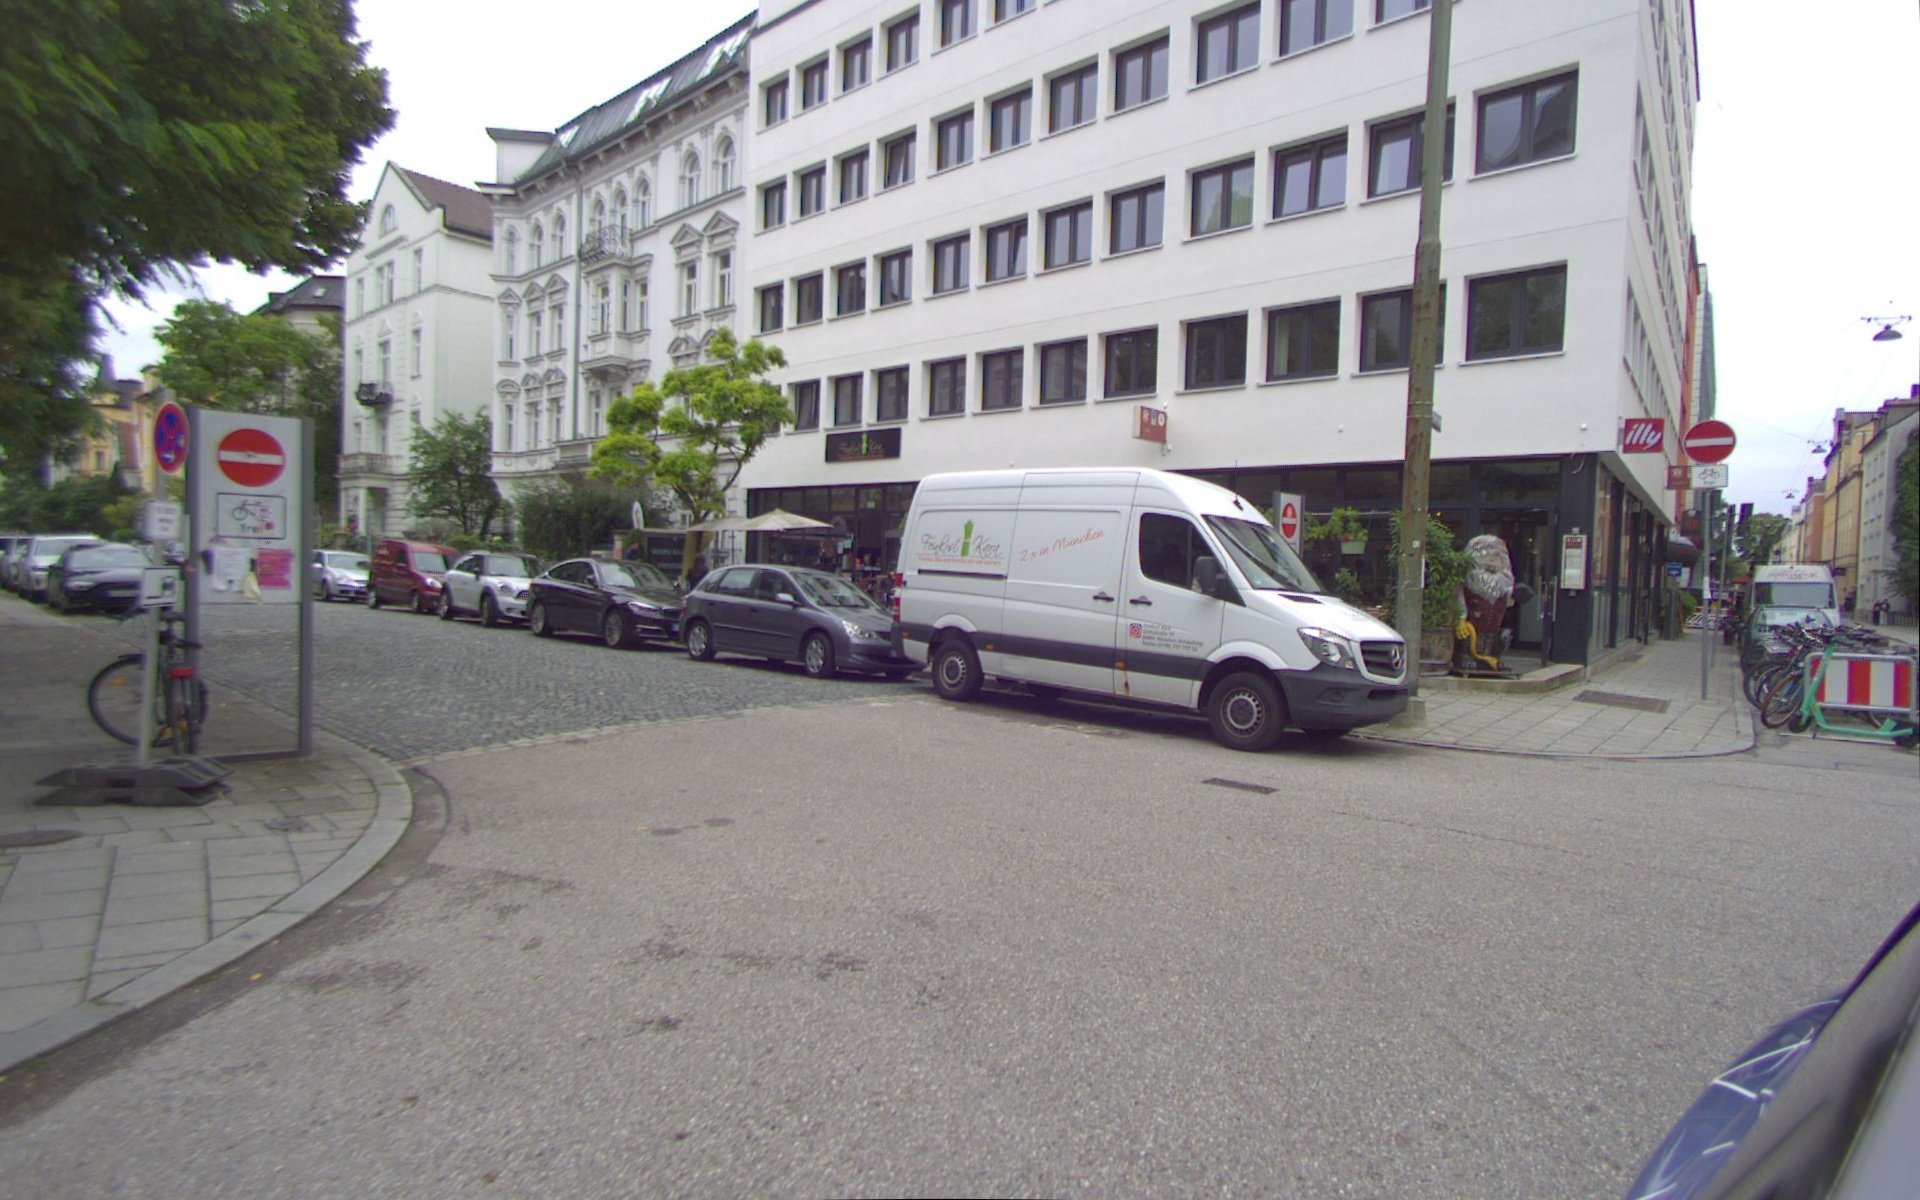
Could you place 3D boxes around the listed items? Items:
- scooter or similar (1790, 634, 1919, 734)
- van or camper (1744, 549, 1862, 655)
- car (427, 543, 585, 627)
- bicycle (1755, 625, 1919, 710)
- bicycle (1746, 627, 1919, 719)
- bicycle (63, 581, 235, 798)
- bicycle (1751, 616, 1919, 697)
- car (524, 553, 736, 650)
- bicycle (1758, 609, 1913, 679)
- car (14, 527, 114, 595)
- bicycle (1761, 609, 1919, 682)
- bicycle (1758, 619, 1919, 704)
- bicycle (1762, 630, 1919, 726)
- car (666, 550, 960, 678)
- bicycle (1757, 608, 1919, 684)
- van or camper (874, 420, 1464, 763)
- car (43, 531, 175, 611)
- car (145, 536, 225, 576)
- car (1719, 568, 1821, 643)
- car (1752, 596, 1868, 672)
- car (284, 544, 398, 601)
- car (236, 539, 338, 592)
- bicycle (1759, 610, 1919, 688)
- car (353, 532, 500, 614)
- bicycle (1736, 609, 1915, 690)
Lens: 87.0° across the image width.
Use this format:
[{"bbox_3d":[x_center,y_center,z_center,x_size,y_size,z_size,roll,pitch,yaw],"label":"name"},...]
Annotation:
[{"bbox_3d":[10.135,0.923,11.320,1.278,0.988,0.492,3,2,40],"label":"scooter or similar"},{"bbox_3d":[22.649,-0.011,27.381,1.956,2.540,5.649,3,2,36],"label":"van or camper"},{"bbox_3d":[-9.780,-0.359,21.663,1.739,1.557,3.990,3,0,-45],"label":"car"},{"bbox_3d":[12.357,0.913,13.938,2.166,0.976,0.961,4,2,40],"label":"bicycle"},{"bbox_3d":[11.580,0.931,13.101,2.169,0.988,0.961,4,2,40],"label":"bicycle"},{"bbox_3d":[-5.245,0.485,6.651,0.673,1.144,2.013,1,2,-33],"label":"bicycle"},{"bbox_3d":[13.692,0.852,15.739,2.144,1.045,0.961,4,2,40],"label":"bicycle"},{"bbox_3d":[-5.928,-0.011,17.922,4.158,1.407,1.766,4,-1,44],"label":"car"},{"bbox_3d":[16.850,0.816,19.559,2.198,1.159,0.630,4,2,40],"label":"bicycle"},{"bbox_3d":[-23.343,-1.040,26.325,3.988,1.638,1.610,4,3,44],"label":"car"},{"bbox_3d":[16.431,0.815,18.945,2.196,1.159,0.686,4,2,40],"label":"bicycle"},{"bbox_3d":[13.031,0.874,14.793,2.097,1.045,0.961,4,2,40],"label":"bicycle"},{"bbox_3d":[10.915,0.926,12.128,1.986,0.976,0.960,4,2,40],"label":"bicycle"},{"bbox_3d":[-2.210,0.152,14.564,4.128,1.505,1.865,4,-1,40],"label":"car"},{"bbox_3d":[15.567,0.784,17.957,2.172,1.159,0.665,4,2,40],"label":"bicycle"},{"bbox_3d":[1.913,-0.169,10.978,5.855,2.748,2.267,4,0,44],"label":"van or camper"},{"bbox_3d":[-19.049,-0.710,22.610,3.988,1.635,1.828,4,4,44],"label":"car"},{"bbox_3d":[-33.513,-1.915,43.744,3.985,1.538,1.969,3,-1,42],"label":"car"},{"bbox_3d":[25.793,0.124,32.359,1.985,2.160,3.955,3,2,32],"label":"car"},{"bbox_3d":[18.453,0.660,22.012,1.752,1.411,3.942,3,2,40],"label":"car"},{"bbox_3d":[-18.159,-0.822,29.630,3.985,1.427,1.709,3,-1,42],"label":"car"},{"bbox_3d":[-22.502,-1.173,33.782,3.985,1.538,1.807,3,-1,42],"label":"car"},{"bbox_3d":[15.061,0.803,17.391,2.027,1.159,0.659,4,2,40],"label":"bicycle"},{"bbox_3d":[-13.358,-0.704,25.269,3.774,1.805,1.752,3,-1,38],"label":"car"},{"bbox_3d":[14.397,0.787,16.920,2.199,1.159,0.729,4,2,40],"label":"bicycle"}]
